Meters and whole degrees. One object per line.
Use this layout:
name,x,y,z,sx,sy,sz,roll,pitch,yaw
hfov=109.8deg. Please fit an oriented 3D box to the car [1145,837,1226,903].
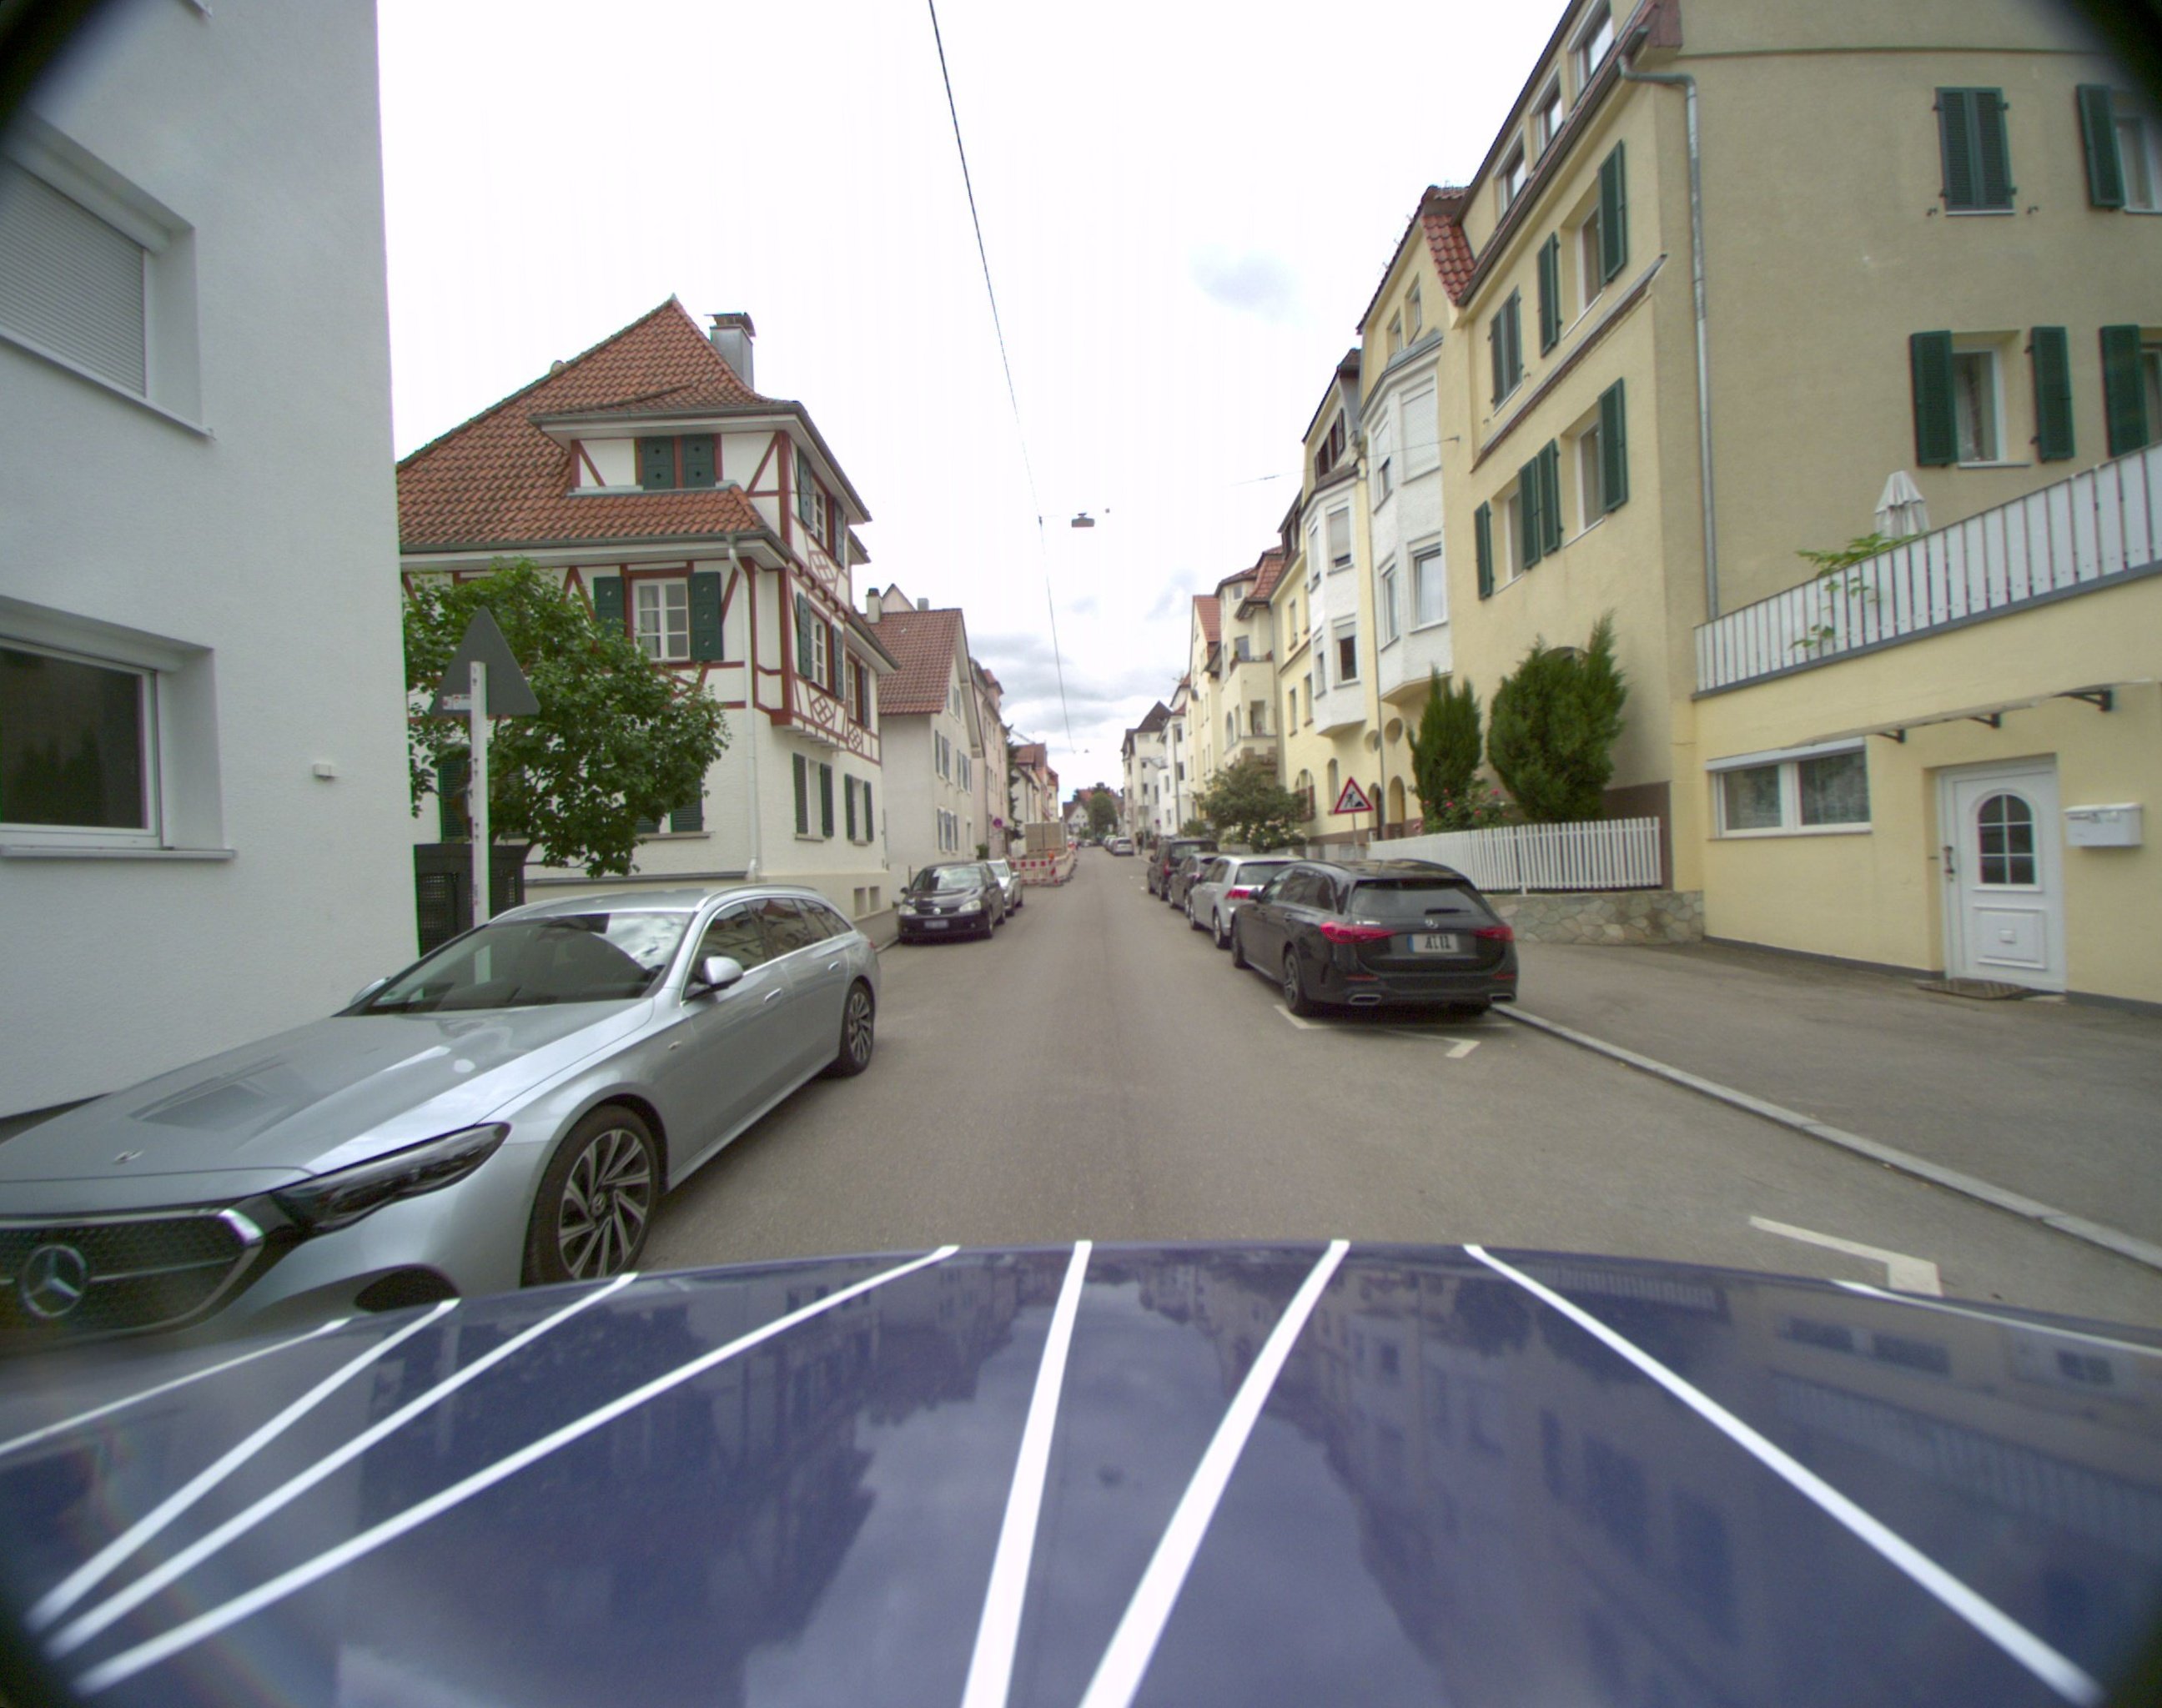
car,3.072,0.398,23.151,1.753,1.786,4.147,-2,1,-2

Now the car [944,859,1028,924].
car,-2.418,0.907,20.318,1.629,1.385,4.235,-4,1,0

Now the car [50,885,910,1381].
car,-2.614,1.084,4.862,1.829,1.436,4.383,-4,1,2

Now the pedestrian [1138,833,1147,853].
pedestrian,5.310,-0.957,65.922,0.617,1.647,0.812,-4,1,2

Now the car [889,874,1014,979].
car,-2.437,1.319,15.251,1.781,1.710,4.000,-3,-1,-1

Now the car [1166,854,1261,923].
car,3.030,0.732,18.026,1.643,1.391,3.702,0,1,0

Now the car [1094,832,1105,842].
car,3.061,-2.849,126.673,1.782,1.558,3.999,-3,2,2

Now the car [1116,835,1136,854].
car,3.952,-0.887,67.264,1.663,1.558,3.999,-2,2,2

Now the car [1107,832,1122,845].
car,4.351,-2.018,99.496,1.782,1.558,3.999,-2,2,2

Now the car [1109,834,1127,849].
car,4.005,-1.363,82.913,1.782,1.558,3.999,-2,2,2

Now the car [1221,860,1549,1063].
car,2.807,0.867,8.182,1.807,1.471,4.328,-2,1,1

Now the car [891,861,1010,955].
car,-2.523,0.987,15.598,1.609,1.481,4.022,-4,1,1

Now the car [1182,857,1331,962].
car,2.846,0.817,13.192,1.643,1.420,4.122,-1,1,0
